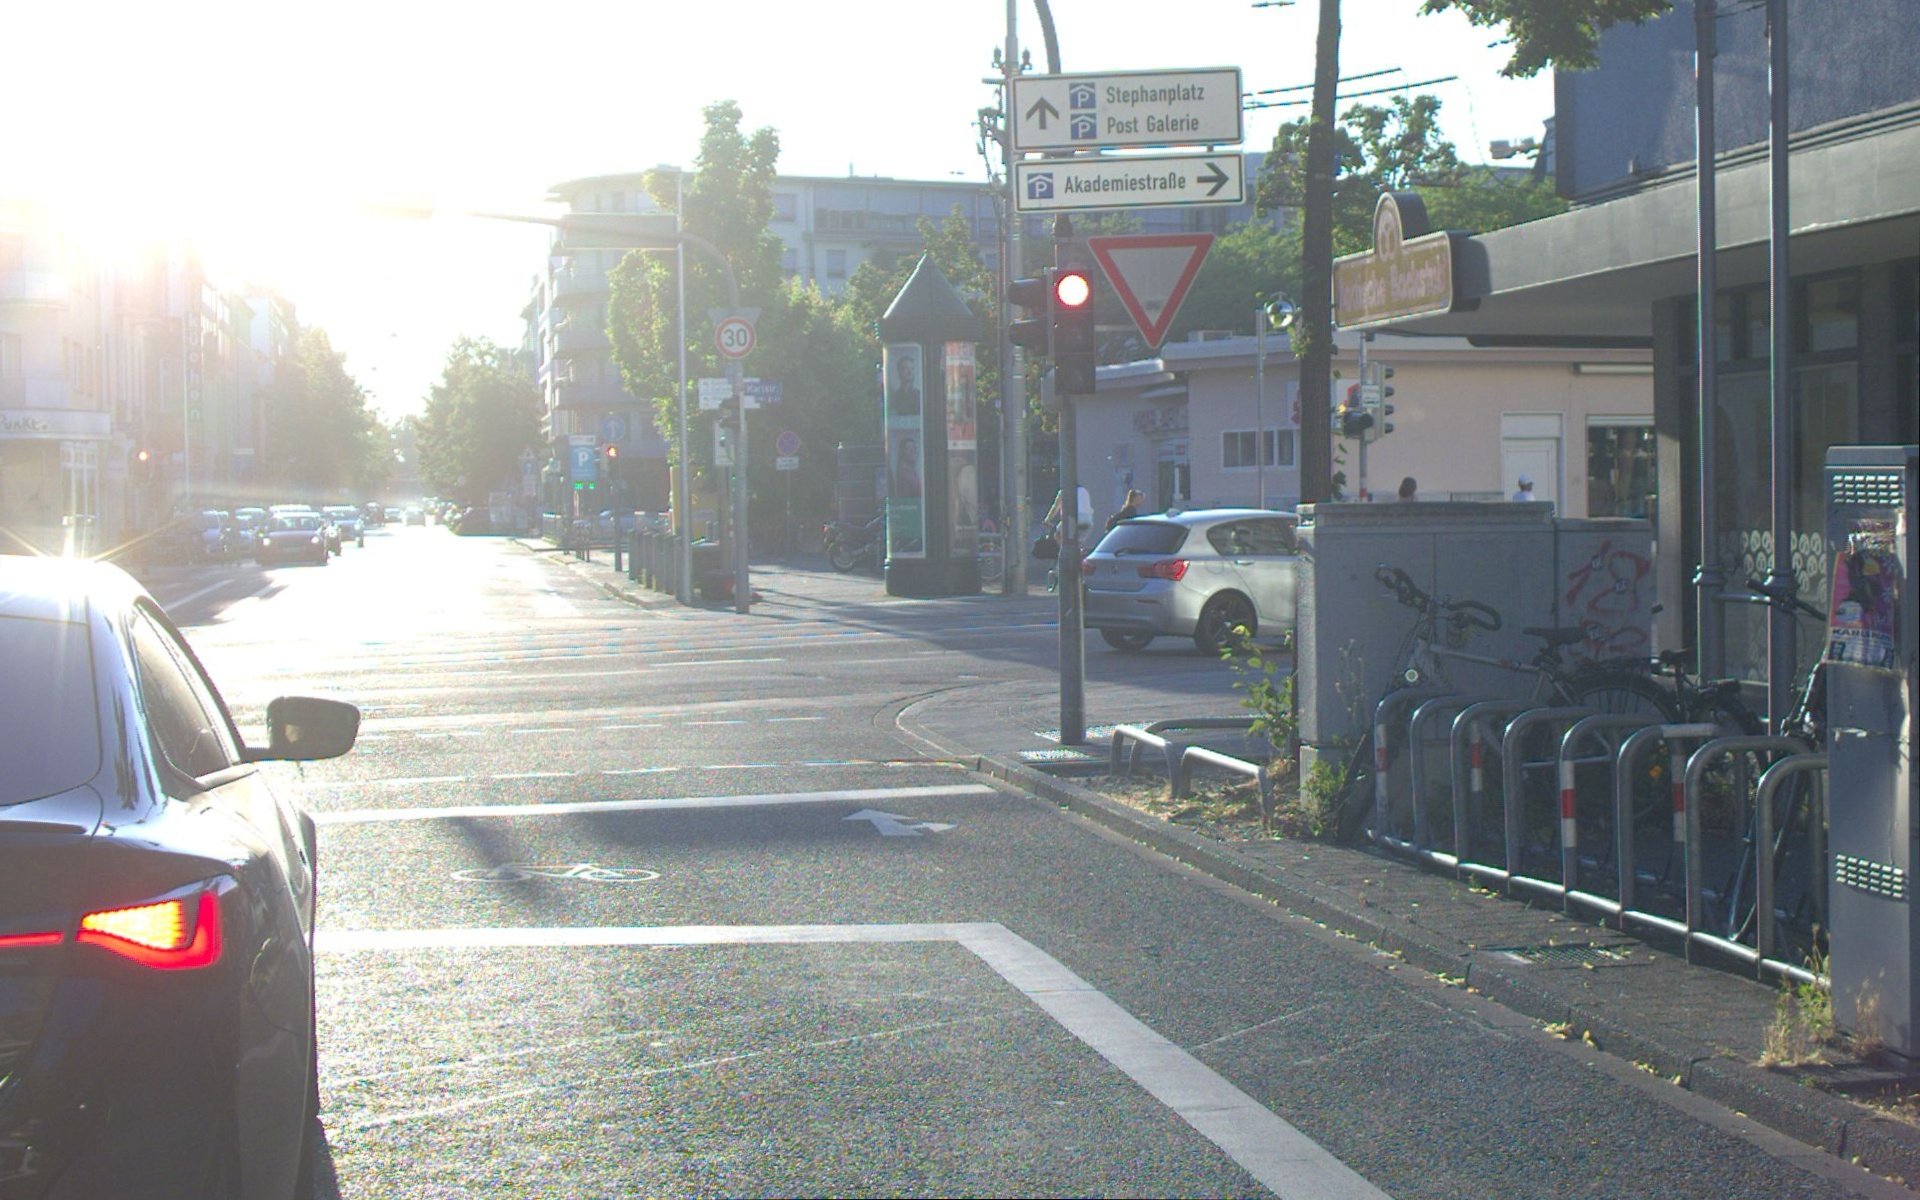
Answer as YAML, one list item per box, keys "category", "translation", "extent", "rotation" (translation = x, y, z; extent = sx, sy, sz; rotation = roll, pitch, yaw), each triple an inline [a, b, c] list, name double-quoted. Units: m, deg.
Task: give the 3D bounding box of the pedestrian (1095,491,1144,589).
- category: "pedestrian"
  translation: [2.508, -0.941, 53.984]
  extent: [0.733, 1.523, 0.472]
  rotation: [1, 1, 4]

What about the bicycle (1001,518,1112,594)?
- category: "bicycle"
  translation: [1.490, -0.689, 53.525]
  extent: [0.550, 1.155, 2.144]
  rotation: [0, 1, -35]

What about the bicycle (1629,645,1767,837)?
- category: "bicycle"
  translation: [3.317, 0.620, 15.499]
  extent: [0.249, 0.793, 1.116]
  rotation: [1, 1, -7]

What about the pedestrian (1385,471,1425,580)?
- category: "pedestrian"
  translation: [7.147, -1.198, 55.230]
  extent: [0.442, 1.729, 0.434]
  rotation: [0, 1, -33]

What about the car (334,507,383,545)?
- category: "car"
  translation: [-24.609, -3.038, 140.772]
  extent: [1.817, 1.514, 4.001]
  rotation: [-1, 2, -8]

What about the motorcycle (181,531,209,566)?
- category: "motorcycle"
  translation: [-20.962, -1.413, 94.259]
  extent: [0.575, 0.912, 2.201]
  rotation: [1, 1, -8]

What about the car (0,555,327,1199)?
- category: "car"
  translation: [-2.127, 0.647, 6.592]
  extent: [1.736, 1.424, 4.225]
  rotation: [0, 1, -10]

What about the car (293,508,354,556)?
- category: "car"
  translation: [-20.970, -2.259, 113.395]
  extent: [1.817, 1.514, 4.001]
  rotation: [-1, 2, -8]

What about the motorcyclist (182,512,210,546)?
- category: "motorcyclist"
  translation: [-20.953, -1.943, 94.264]
  extent: [0.575, 0.912, 2.201]
  rotation: [1, 1, -8]

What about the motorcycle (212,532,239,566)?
- category: "motorcycle"
  translation: [-20.056, -1.391, 93.874]
  extent: [0.575, 0.912, 2.201]
  rotation: [1, 1, -8]

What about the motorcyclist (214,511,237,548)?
- category: "motorcyclist"
  translation: [-20.032, -1.918, 93.753]
  extent: [0.575, 0.992, 0.703]
  rotation: [1, 1, -8]

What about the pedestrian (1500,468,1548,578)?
- category: "pedestrian"
  translation: [8.958, -1.223, 54.607]
  extent: [0.478, 1.729, 0.531]
  rotation: [0, 1, -33]

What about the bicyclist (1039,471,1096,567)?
- category: "bicyclist"
  translation: [1.662, -1.248, 53.283]
  extent: [0.550, 1.476, 0.722]
  rotation: [0, 1, -35]

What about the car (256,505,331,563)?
- category: "car"
  translation: [-18.342, -1.837, 94.690]
  extent: [1.817, 1.514, 4.001]
  rotation: [-1, 2, -8]

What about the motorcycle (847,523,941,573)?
- category: "motorcycle"
  translation: [-1.311, -1.032, 67.939]
  extent: [1.668, 0.935, 0.856]
  rotation: [-1, 2, -19]

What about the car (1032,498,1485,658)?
- category: "car"
  translation: [3.082, -0.265, 35.241]
  extent: [4.307, 1.493, 2.000]
  rotation: [-2, 2, -34]

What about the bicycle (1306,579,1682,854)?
- category: "bicycle"
  translation: [2.372, 0.509, 15.280]
  extent: [1.612, 1.167, 0.318]
  rotation: [-1, 2, -6]

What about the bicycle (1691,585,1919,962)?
- category: "bicycle"
  translation: [3.197, 0.570, 11.402]
  extent: [1.440, 1.216, 0.383]
  rotation: [1, 1, -7]
